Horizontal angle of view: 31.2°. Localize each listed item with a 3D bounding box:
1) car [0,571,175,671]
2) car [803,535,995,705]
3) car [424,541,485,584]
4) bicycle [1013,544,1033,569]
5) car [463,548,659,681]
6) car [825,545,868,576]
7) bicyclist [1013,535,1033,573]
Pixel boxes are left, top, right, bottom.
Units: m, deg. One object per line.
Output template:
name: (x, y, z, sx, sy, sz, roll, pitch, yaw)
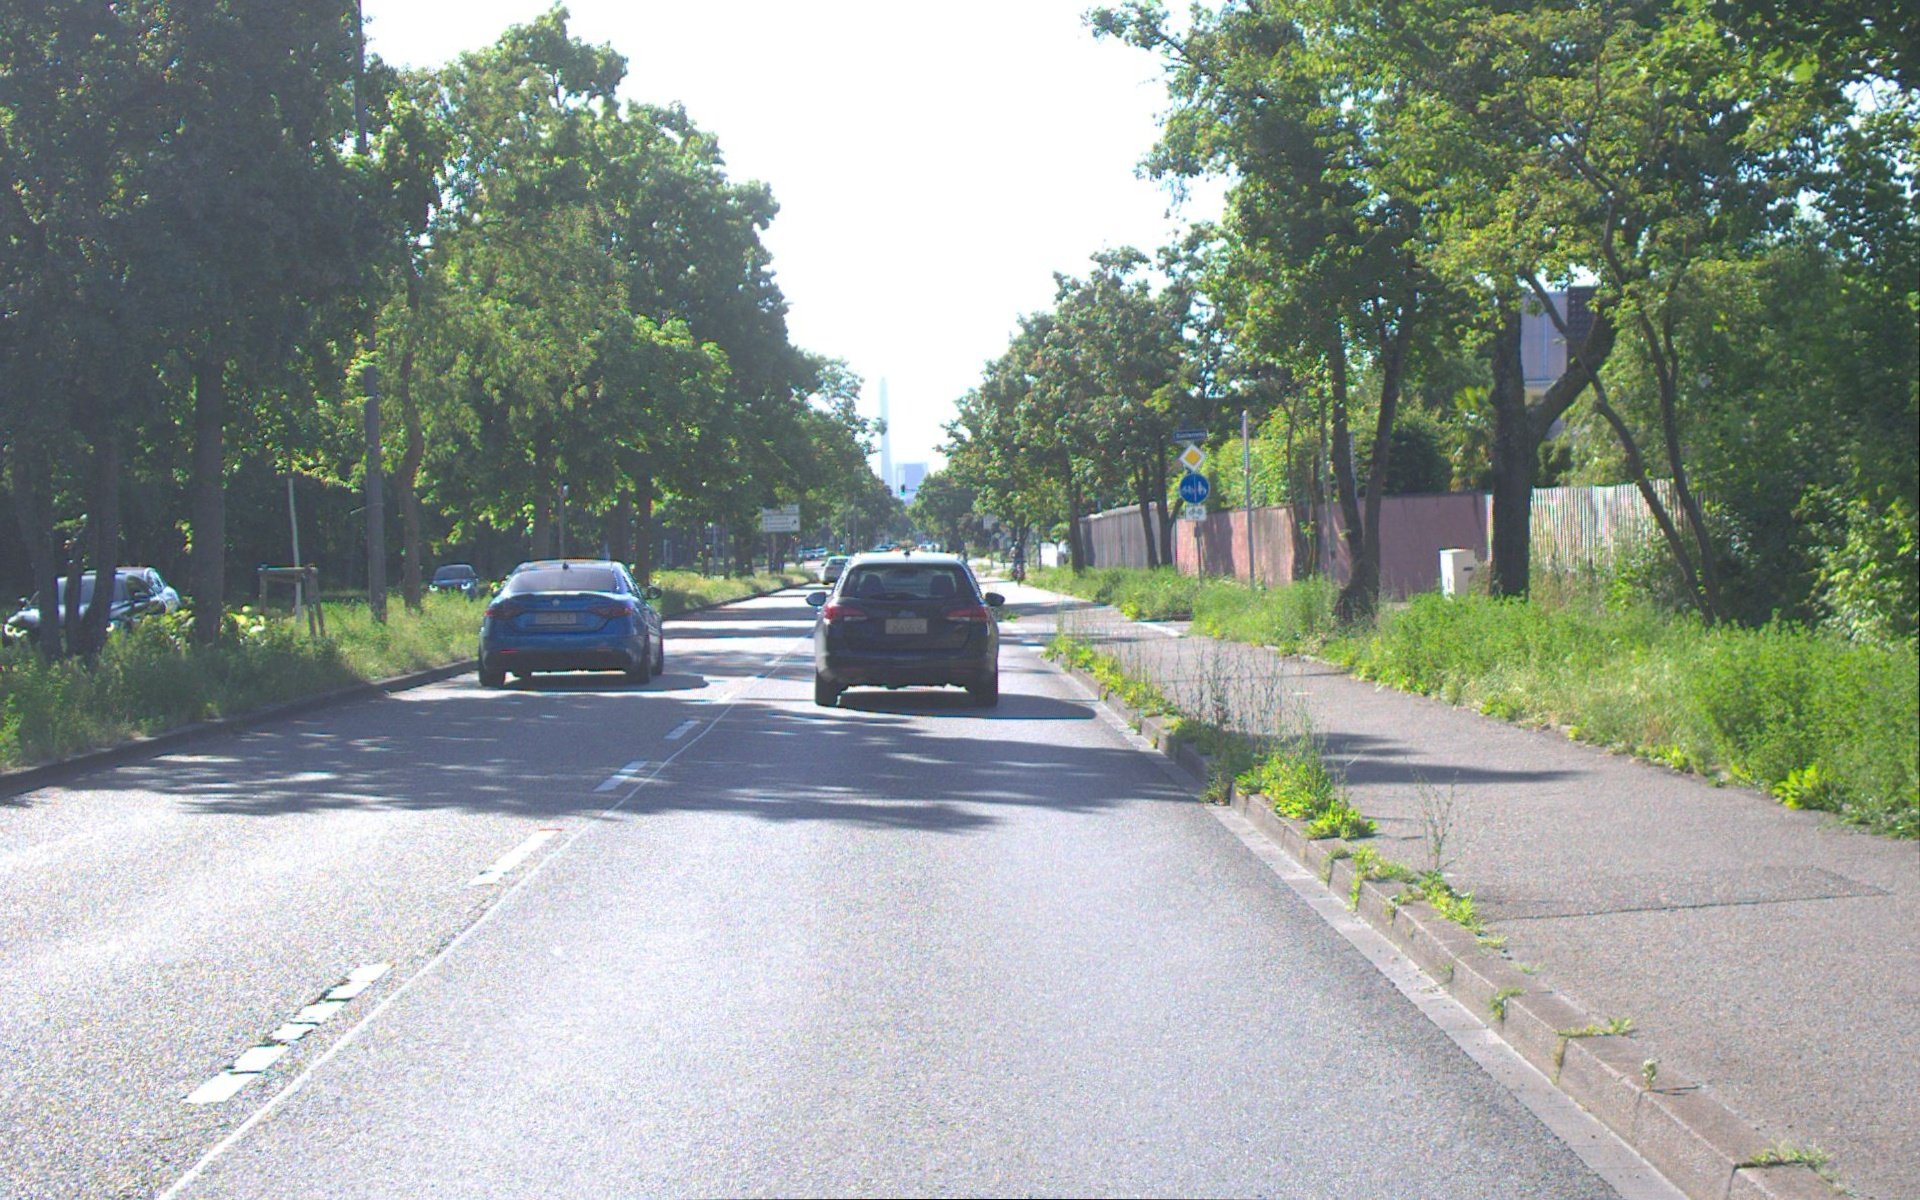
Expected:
car: (-13.101, 0.286, 51.531, 1.701, 1.390, 4.251, -1, 1, 0)
car: (-0.556, 0.159, 33.892, 1.760, 1.554, 4.000, 1, 1, 0)
car: (-18.260, -1.359, 124.274, 1.715, 1.500, 3.016, -1, 1, 0)
bicycle: (2.328, -1.603, 126.883, 0.655, 0.889, 1.875, -1, 1, -1)
car: (-4.558, 0.128, 39.788, 1.994, 1.400, 4.001, -1, 1, -3)
car: (-5.772, -2.005, 174.085, 1.978, 1.435, 4.001, -1, 2, -4)
bicyclist: (2.329, -1.702, 126.869, 0.680, 1.414, 0.812, -1, 1, -1)
